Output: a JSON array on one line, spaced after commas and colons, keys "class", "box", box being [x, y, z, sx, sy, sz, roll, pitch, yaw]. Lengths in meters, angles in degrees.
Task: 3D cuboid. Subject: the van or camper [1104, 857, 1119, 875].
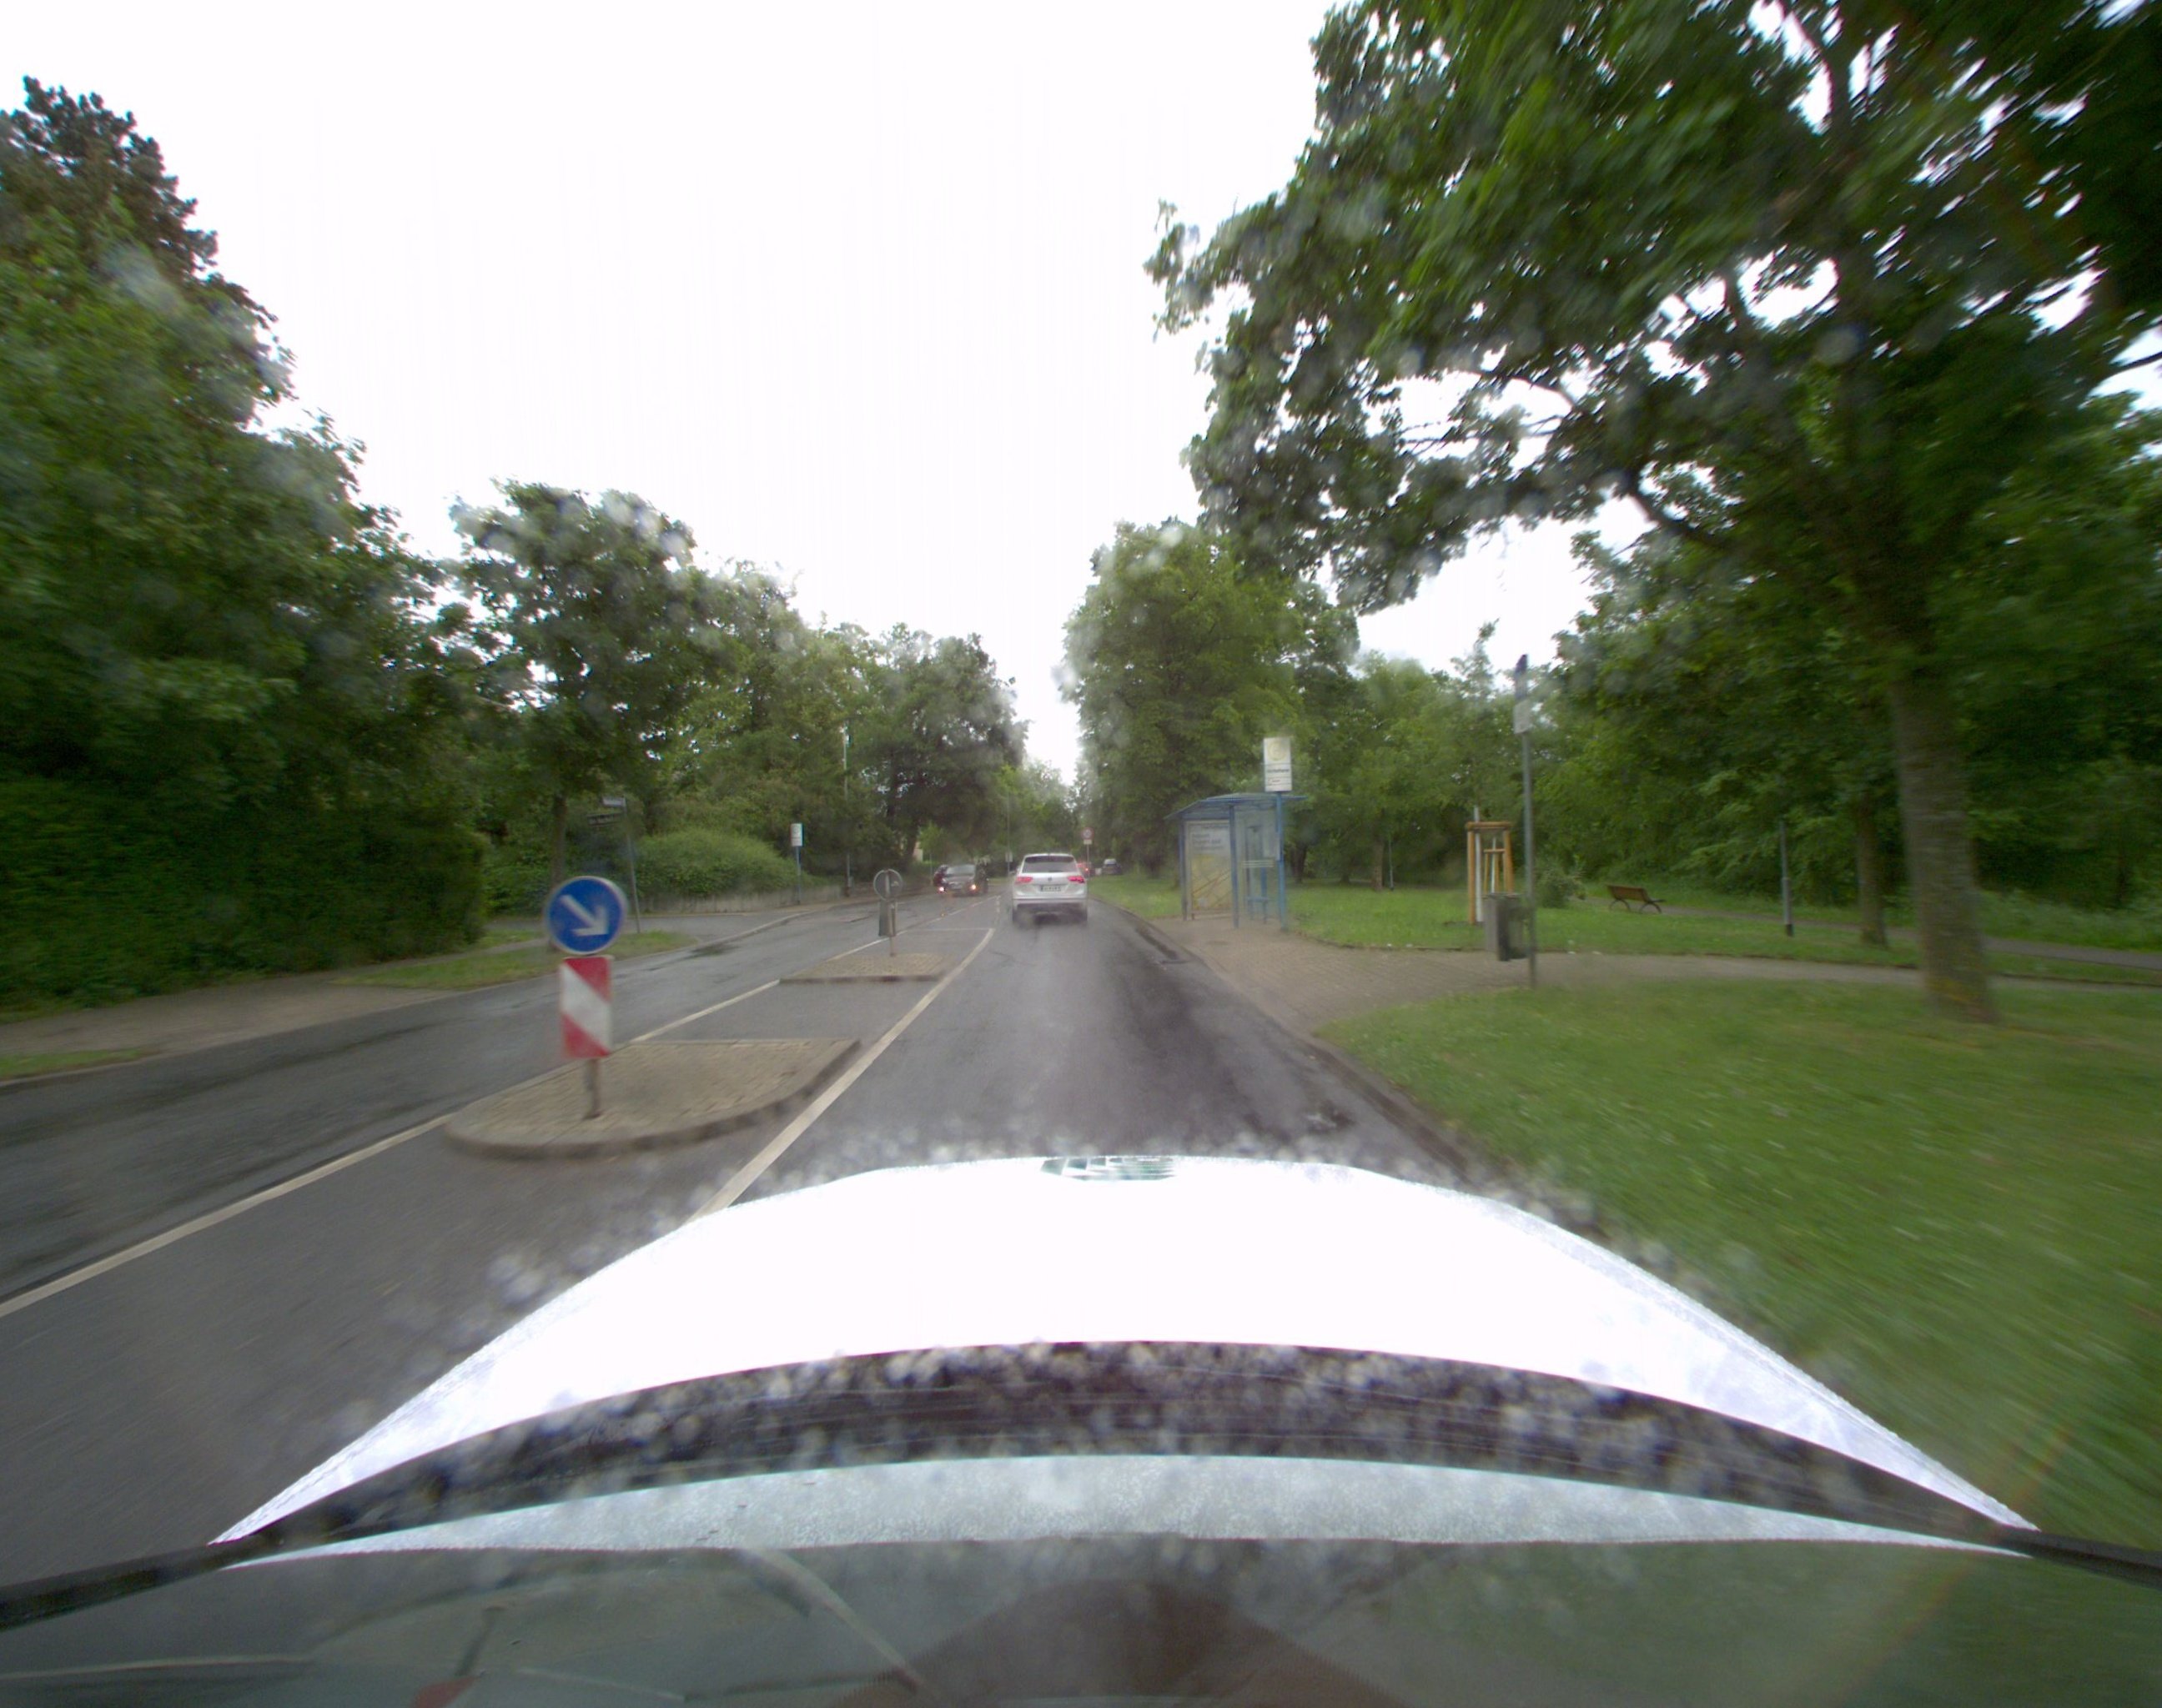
[{"class": "van or camper", "box": [4.627, 1.807, 122.206, 2.007, 2.583, 8.444, 0, -1, 4]}]

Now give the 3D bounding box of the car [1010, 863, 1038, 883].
[{"class": "car", "box": [-4.581, 1.532, 65.927, 1.784, 1.422, 4.359, -4, -1, 1]}]

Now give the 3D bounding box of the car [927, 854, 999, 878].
[{"class": "car", "box": [-10.036, 1.039, 69.944, 5.729, 2.038, 3.476, 0, -1, -2]}]

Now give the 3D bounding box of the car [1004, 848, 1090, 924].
[{"class": "car", "box": [-0.761, 0.760, 20.919, 1.898, 1.685, 4.201, -2, -1, 1]}]

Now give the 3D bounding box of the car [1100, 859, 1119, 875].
[{"class": "car", "box": [2.925, 1.321, 82.548, 1.693, 1.462, 4.220, -3, -2, 3]}]

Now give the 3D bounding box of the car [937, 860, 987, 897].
[{"class": "car", "box": [-5.563, 1.112, 38.622, 1.990, 1.577, 3.994, -2, 0, -4]}]

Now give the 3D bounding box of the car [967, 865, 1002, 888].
[{"class": "car", "box": [-7.088, 1.643, 60.202, 1.986, 1.516, 4.003, 0, 2, 2]}]
